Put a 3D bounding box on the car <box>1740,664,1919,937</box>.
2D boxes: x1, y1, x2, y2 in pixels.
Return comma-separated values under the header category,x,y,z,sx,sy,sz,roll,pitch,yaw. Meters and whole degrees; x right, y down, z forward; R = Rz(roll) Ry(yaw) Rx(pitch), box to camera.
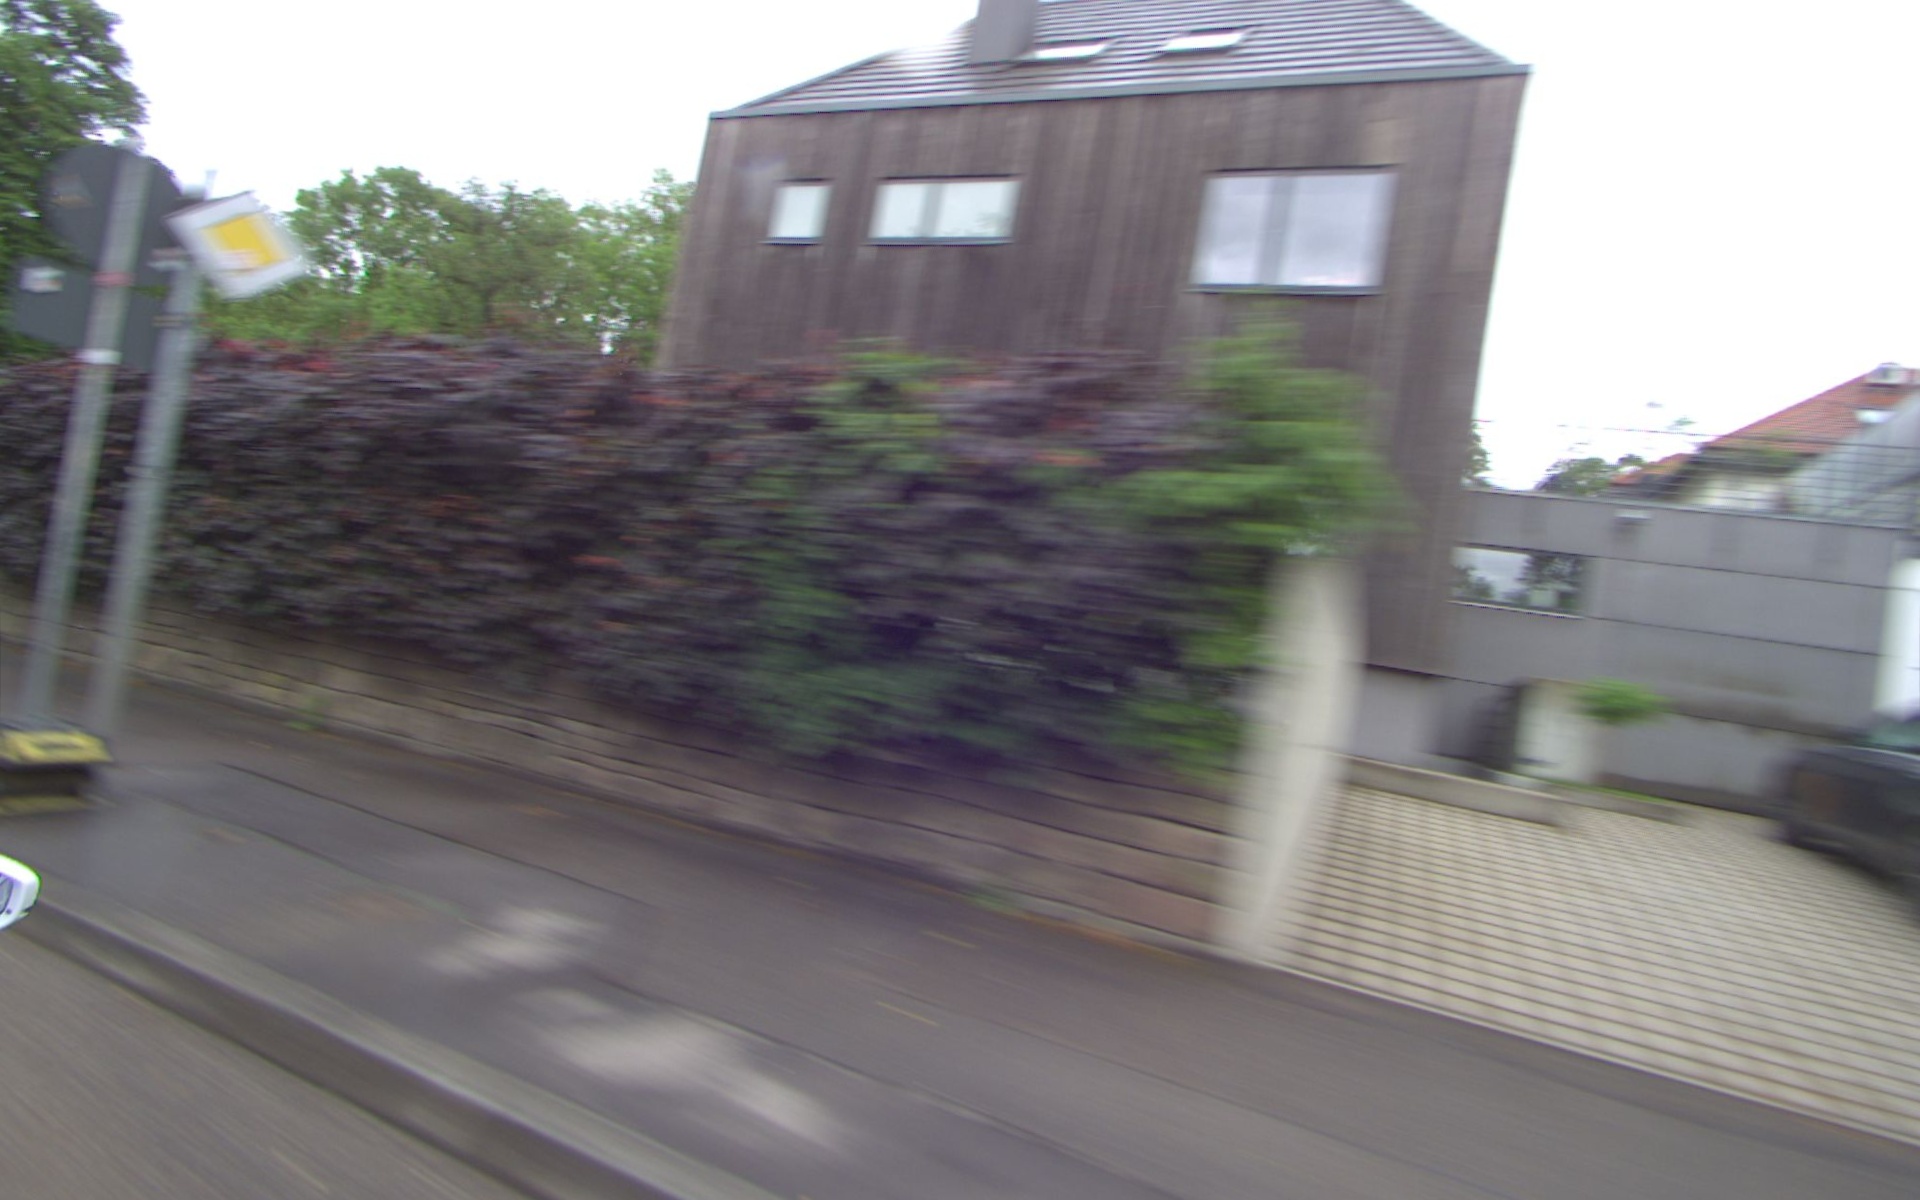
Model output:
category,x,y,z,sx,sy,sz,roll,pitch,yaw
car,7.502,1.482,7.048,1.964,1.543,4.641,9,3,24
